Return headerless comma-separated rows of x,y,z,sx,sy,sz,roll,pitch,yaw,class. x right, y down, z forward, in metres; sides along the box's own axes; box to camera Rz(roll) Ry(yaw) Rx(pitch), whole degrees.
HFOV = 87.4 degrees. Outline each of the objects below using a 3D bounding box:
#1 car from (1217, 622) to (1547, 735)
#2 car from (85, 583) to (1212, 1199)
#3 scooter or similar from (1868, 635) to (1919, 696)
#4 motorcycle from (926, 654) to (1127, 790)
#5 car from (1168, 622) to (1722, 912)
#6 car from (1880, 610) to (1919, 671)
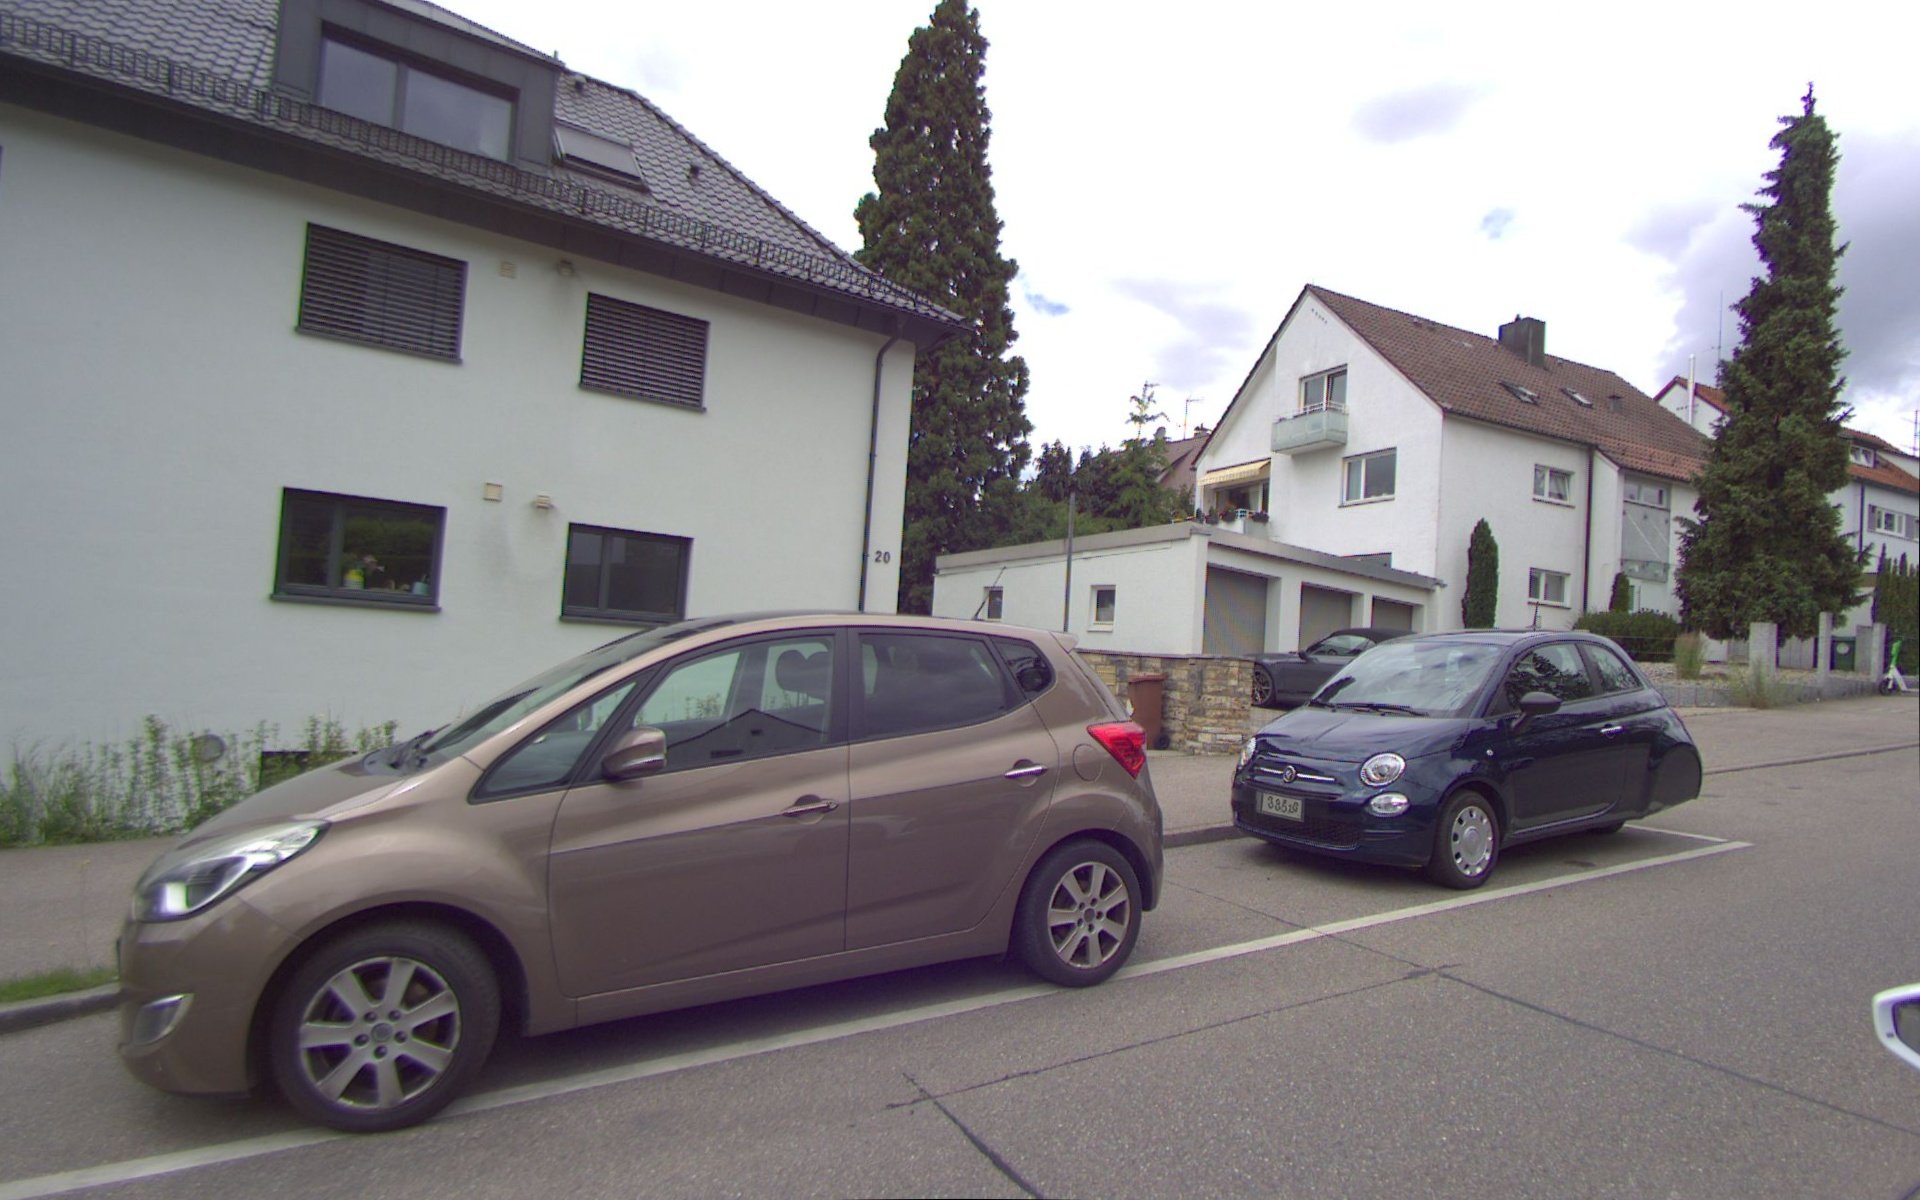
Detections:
6.106,1.047,15.022,1.884,1.386,4.261,1,-1,-33,car
-1.002,0.808,4.347,3.824,1.606,1.870,1,-1,-28,car
18.596,1.279,19.655,1.429,1.164,0.474,1,1,-13,scooter or similar
0.628,1.109,9.304,1.835,1.176,0.429,2,-2,-21,motorcycle
3.427,0.952,7.091,3.464,1.557,1.870,1,-1,-28,car
26.995,1.165,26.648,1.635,1.599,3.416,2,1,-27,car
